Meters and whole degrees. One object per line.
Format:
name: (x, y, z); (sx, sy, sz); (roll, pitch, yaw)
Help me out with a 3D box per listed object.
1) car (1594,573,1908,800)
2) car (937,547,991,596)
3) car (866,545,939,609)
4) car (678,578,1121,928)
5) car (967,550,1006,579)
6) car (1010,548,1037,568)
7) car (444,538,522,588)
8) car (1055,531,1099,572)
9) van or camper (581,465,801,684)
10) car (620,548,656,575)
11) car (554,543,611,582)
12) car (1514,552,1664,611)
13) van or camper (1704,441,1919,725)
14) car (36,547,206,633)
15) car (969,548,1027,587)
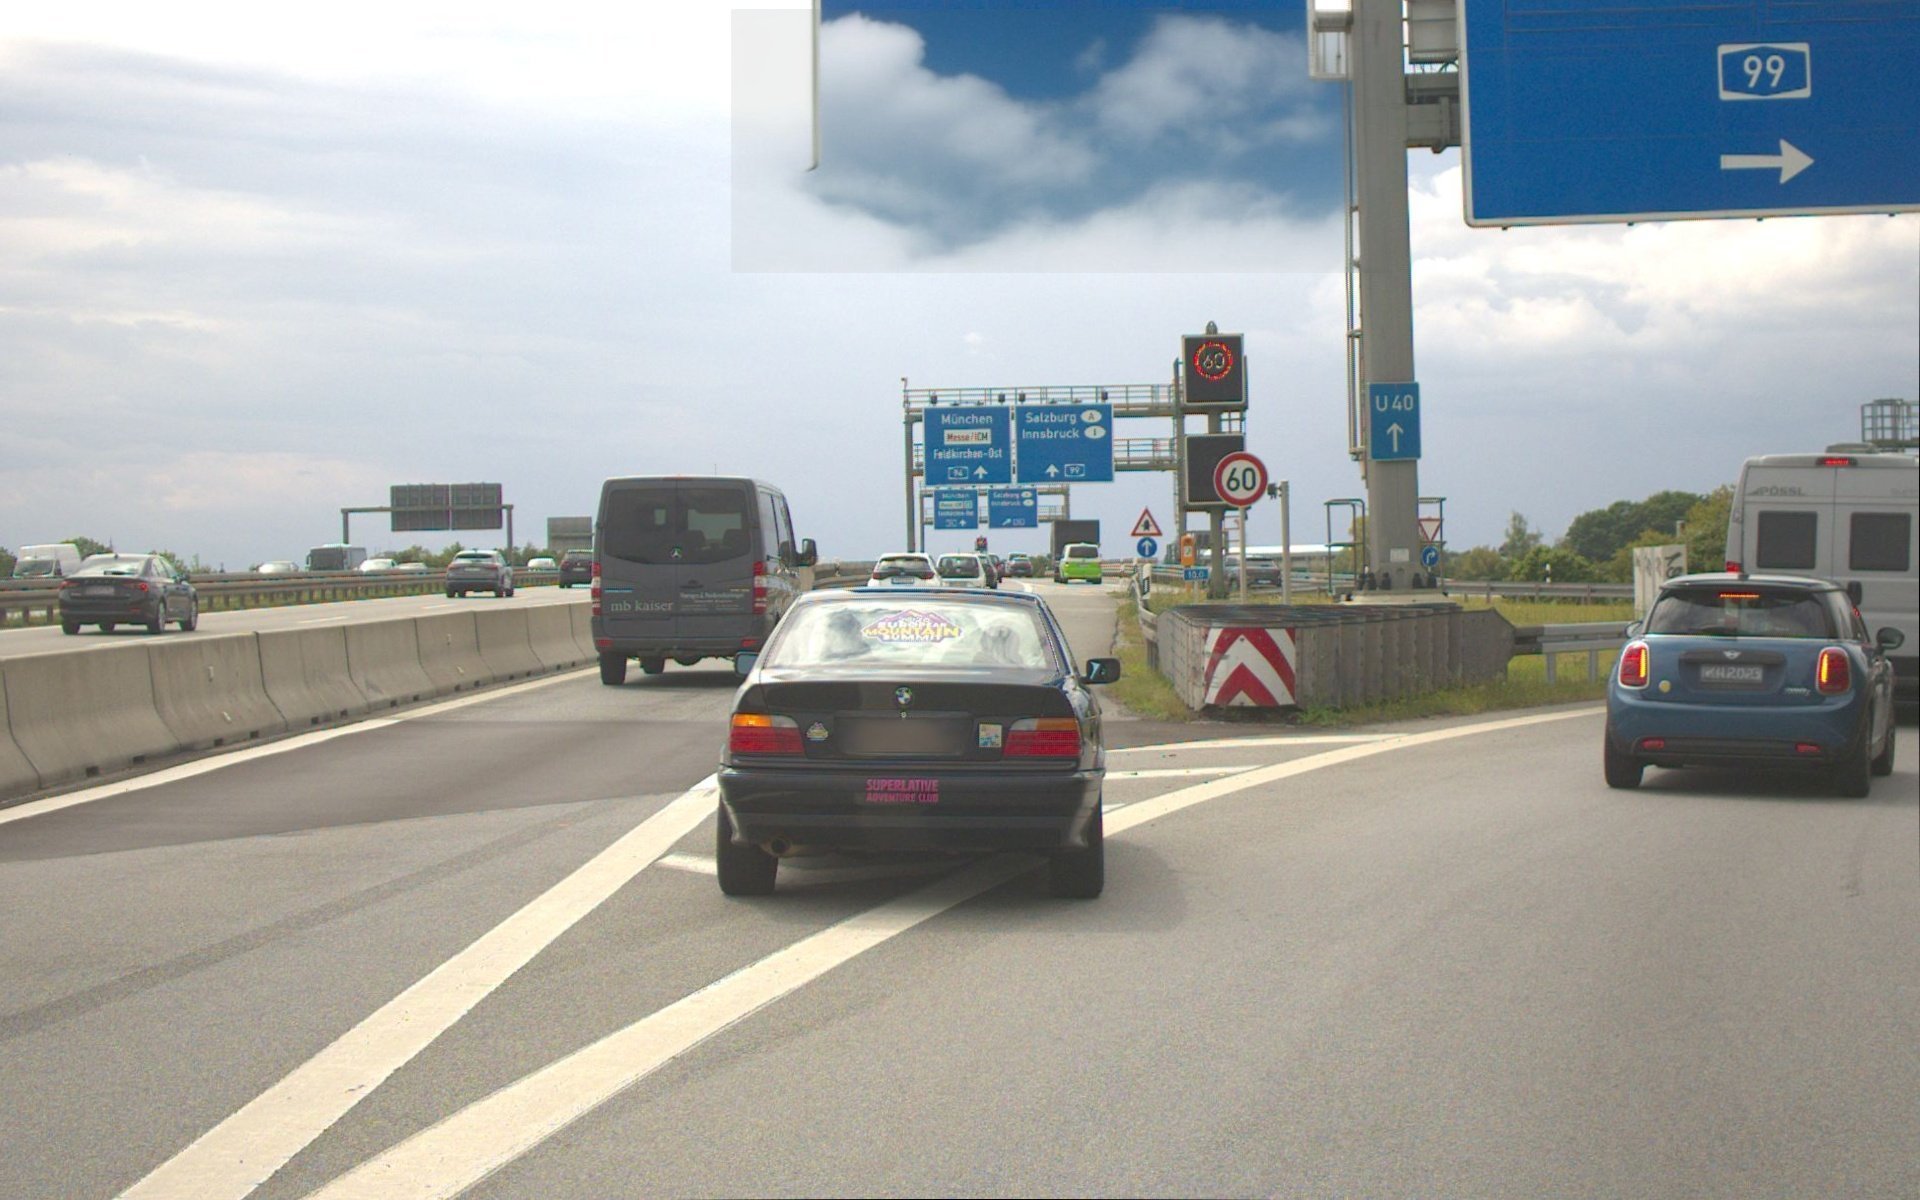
car: (5.531, 0.537, 23.754); (1.731, 1.414, 3.662); (1, 1, 19)
car: (0.133, -0.904, 107.776); (1.585, 1.478, 3.535); (0, 1, 1)
car: (-1.362, -0.567, 82.767); (1.701, 1.503, 3.840); (0, 1, 0)
car: (-0.195, 0.605, 15.950); (1.782, 1.373, 4.137); (0, 1, 1)
car: (1.335, -1.802, 171.676); (1.866, 1.419, 4.000); (0, 1, 2)
car: (4.606, -3.036, 248.822); (1.803, 1.419, 4.000); (0, 1, 3)
car: (-15.739, -1.232, 113.656); (1.901, 1.634, 4.645); (0, 1, 0)
car: (5.720, -2.376, 168.668); (1.993, 2.007, 4.000); (0, 1, -1)
van or camper: (-3.044, -0.322, 40.182); (1.999, 2.362, 6.126); (0, 1, 1)
car: (-16.896, -2.016, 180.458); (1.552, 1.371, 4.000); (0, 1, 0)
car: (-16.116, -1.622, 146.912); (1.901, 1.633, 4.233); (0, 1, 0)
car: (19.460, -0.596, 106.507); (1.994, 1.766, 4.245); (0, 1, -41)
van or camper: (9.180, -0.200, 34.124); (2.296, 2.559, 6.153); (0, 1, 24)
car: (-15.367, -0.206, 63.202); (2.059, 1.522, 4.568); (0, 1, -1)
car: (1.498, -1.261, 133.228); (1.994, 1.463, 4.000); (0, 1, 4)
